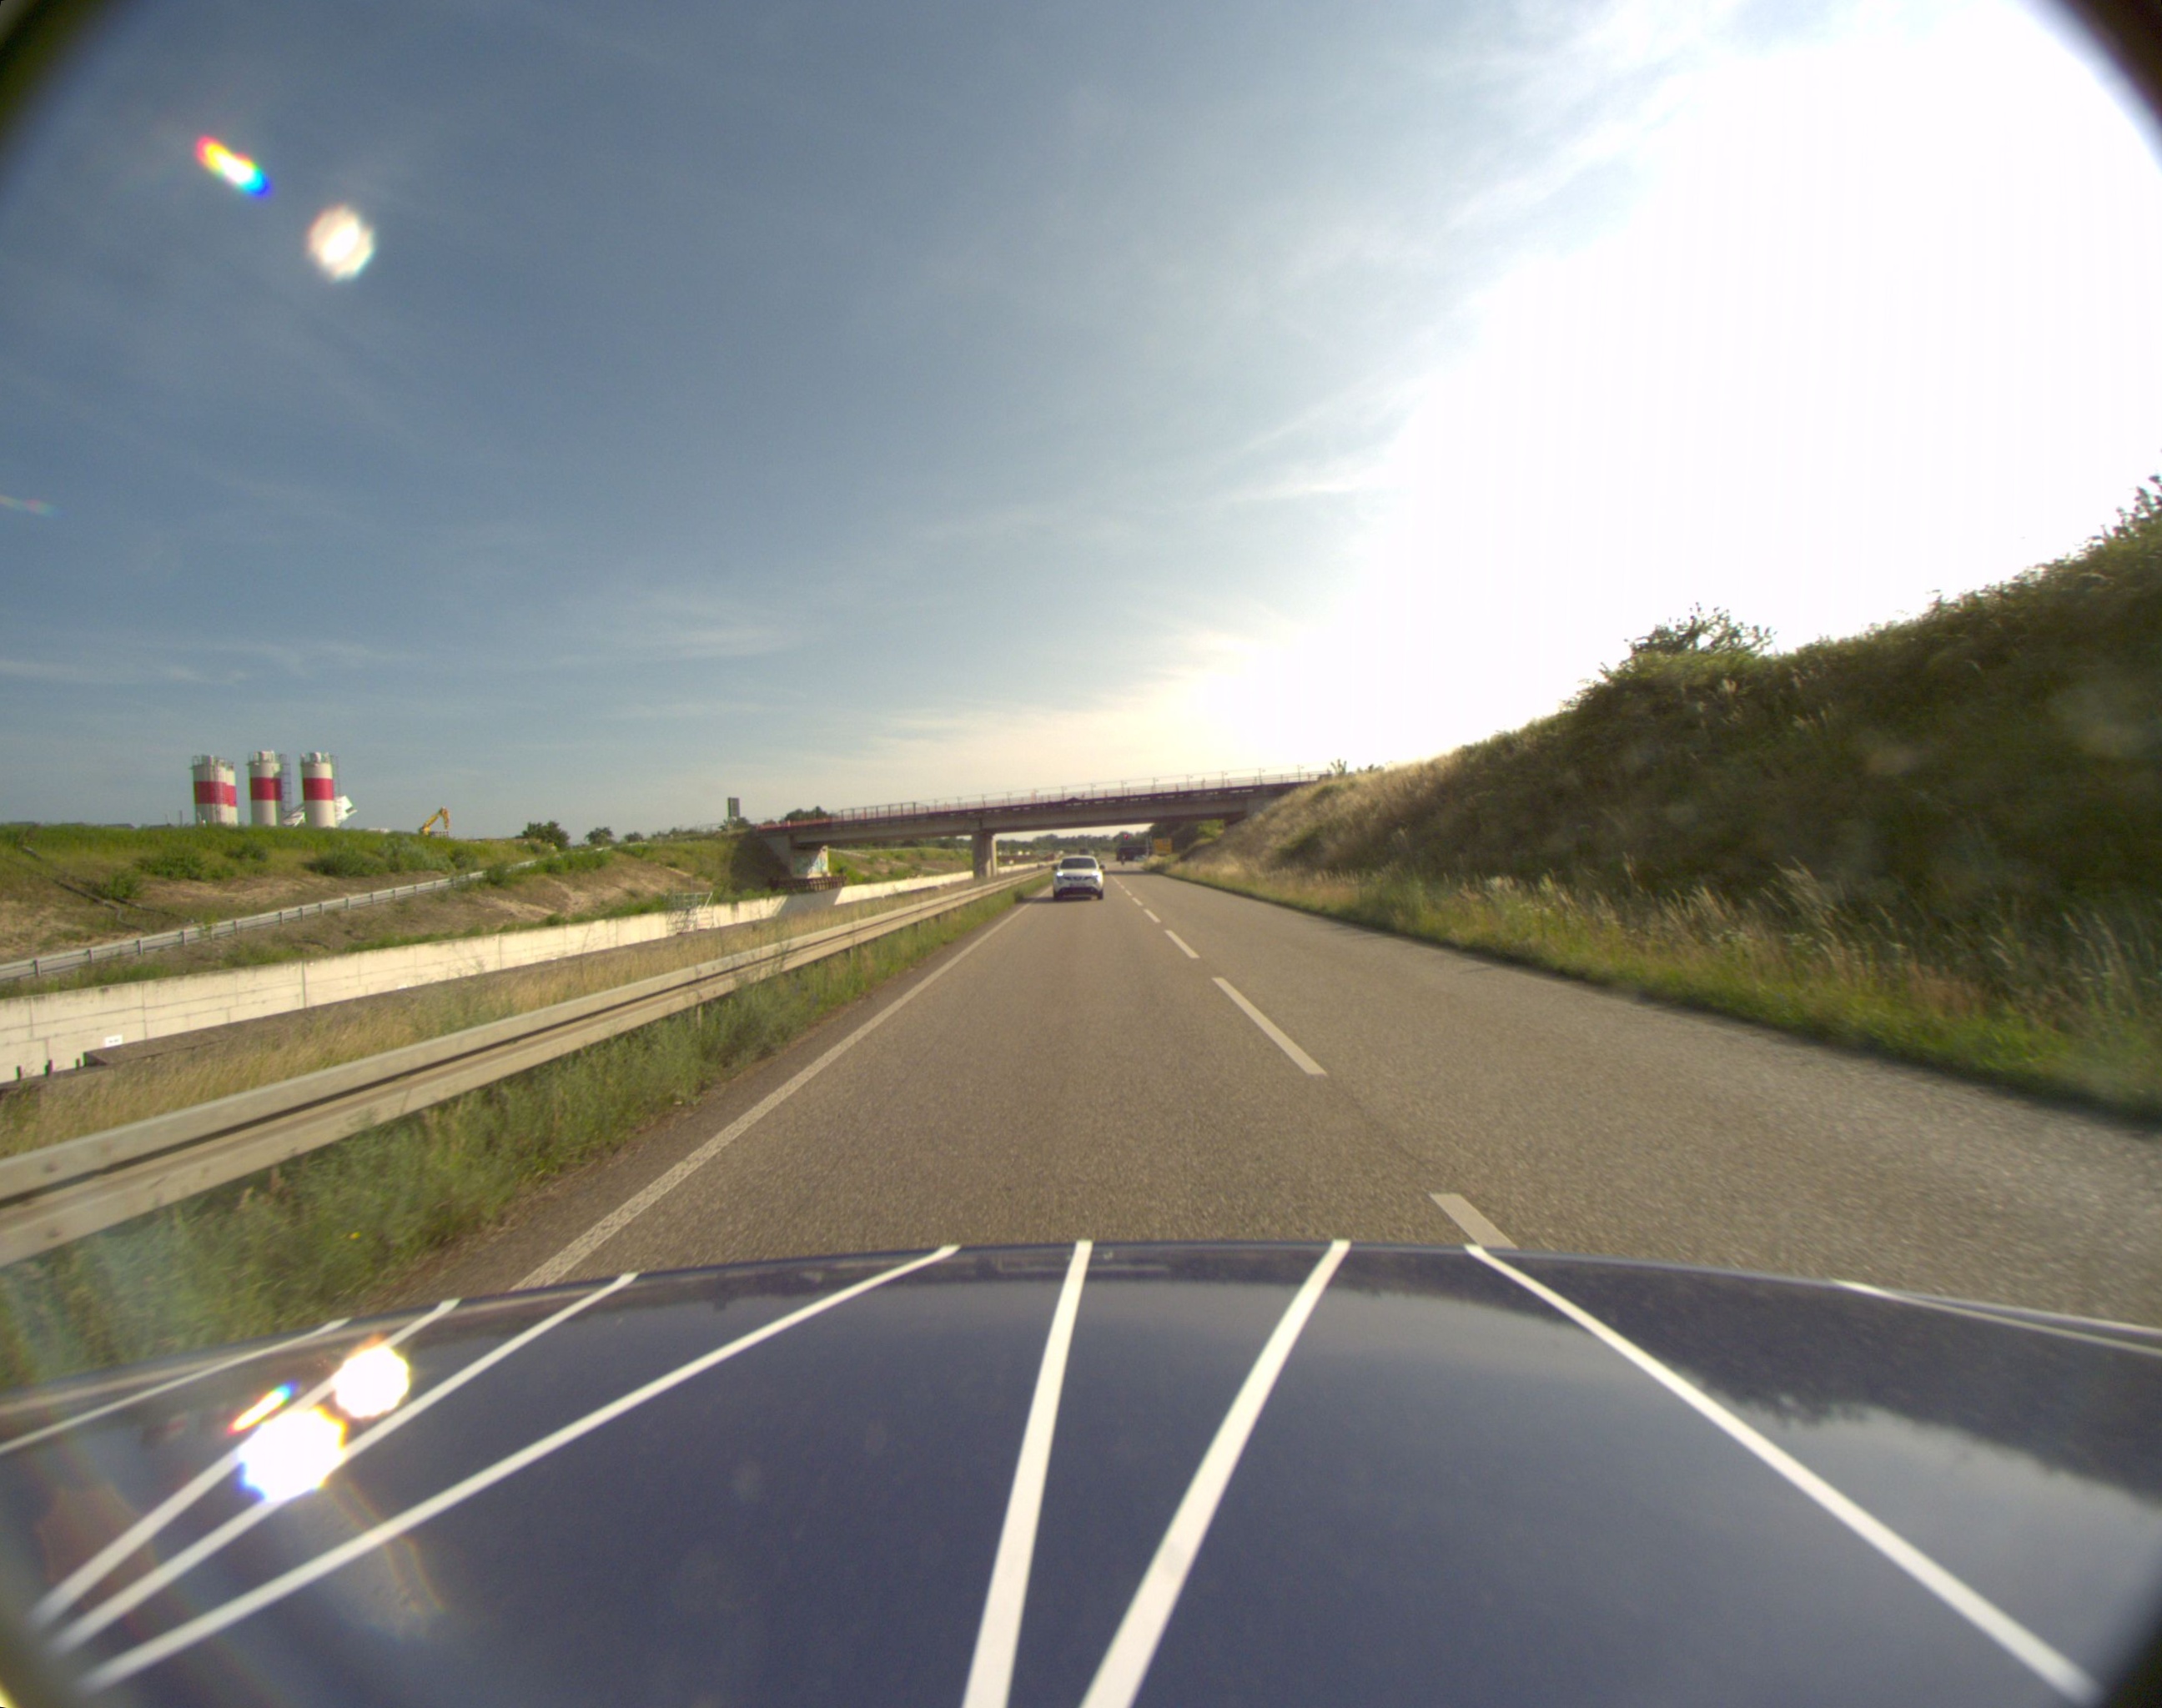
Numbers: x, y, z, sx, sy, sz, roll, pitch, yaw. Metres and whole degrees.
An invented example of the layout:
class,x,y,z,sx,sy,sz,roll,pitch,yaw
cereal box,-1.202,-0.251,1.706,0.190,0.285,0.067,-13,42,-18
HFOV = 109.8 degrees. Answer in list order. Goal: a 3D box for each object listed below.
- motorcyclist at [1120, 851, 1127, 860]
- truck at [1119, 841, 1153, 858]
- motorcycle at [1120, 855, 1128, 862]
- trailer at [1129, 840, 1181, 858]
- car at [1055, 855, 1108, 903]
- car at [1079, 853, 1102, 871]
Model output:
class,x,y,z,sx,sy,sz,roll,pitch,yaw
motorcyclist,6.594,0.259,117.833,0.881,1.443,1.284,-1,1,-1
truck,14.729,-1.101,202.928,8.378,4.089,3.566,-2,1,38
motorcycle,6.619,0.712,117.761,1.044,1.111,2.132,-1,0,-1
trailer,19.273,-1.282,199.250,13.761,4.089,3.566,-2,1,38
car,-0.058,0.856,28.246,1.789,1.593,4.571,-1,0,-2
car,0.852,0.664,68.625,1.908,1.512,4.465,-2,0,1
